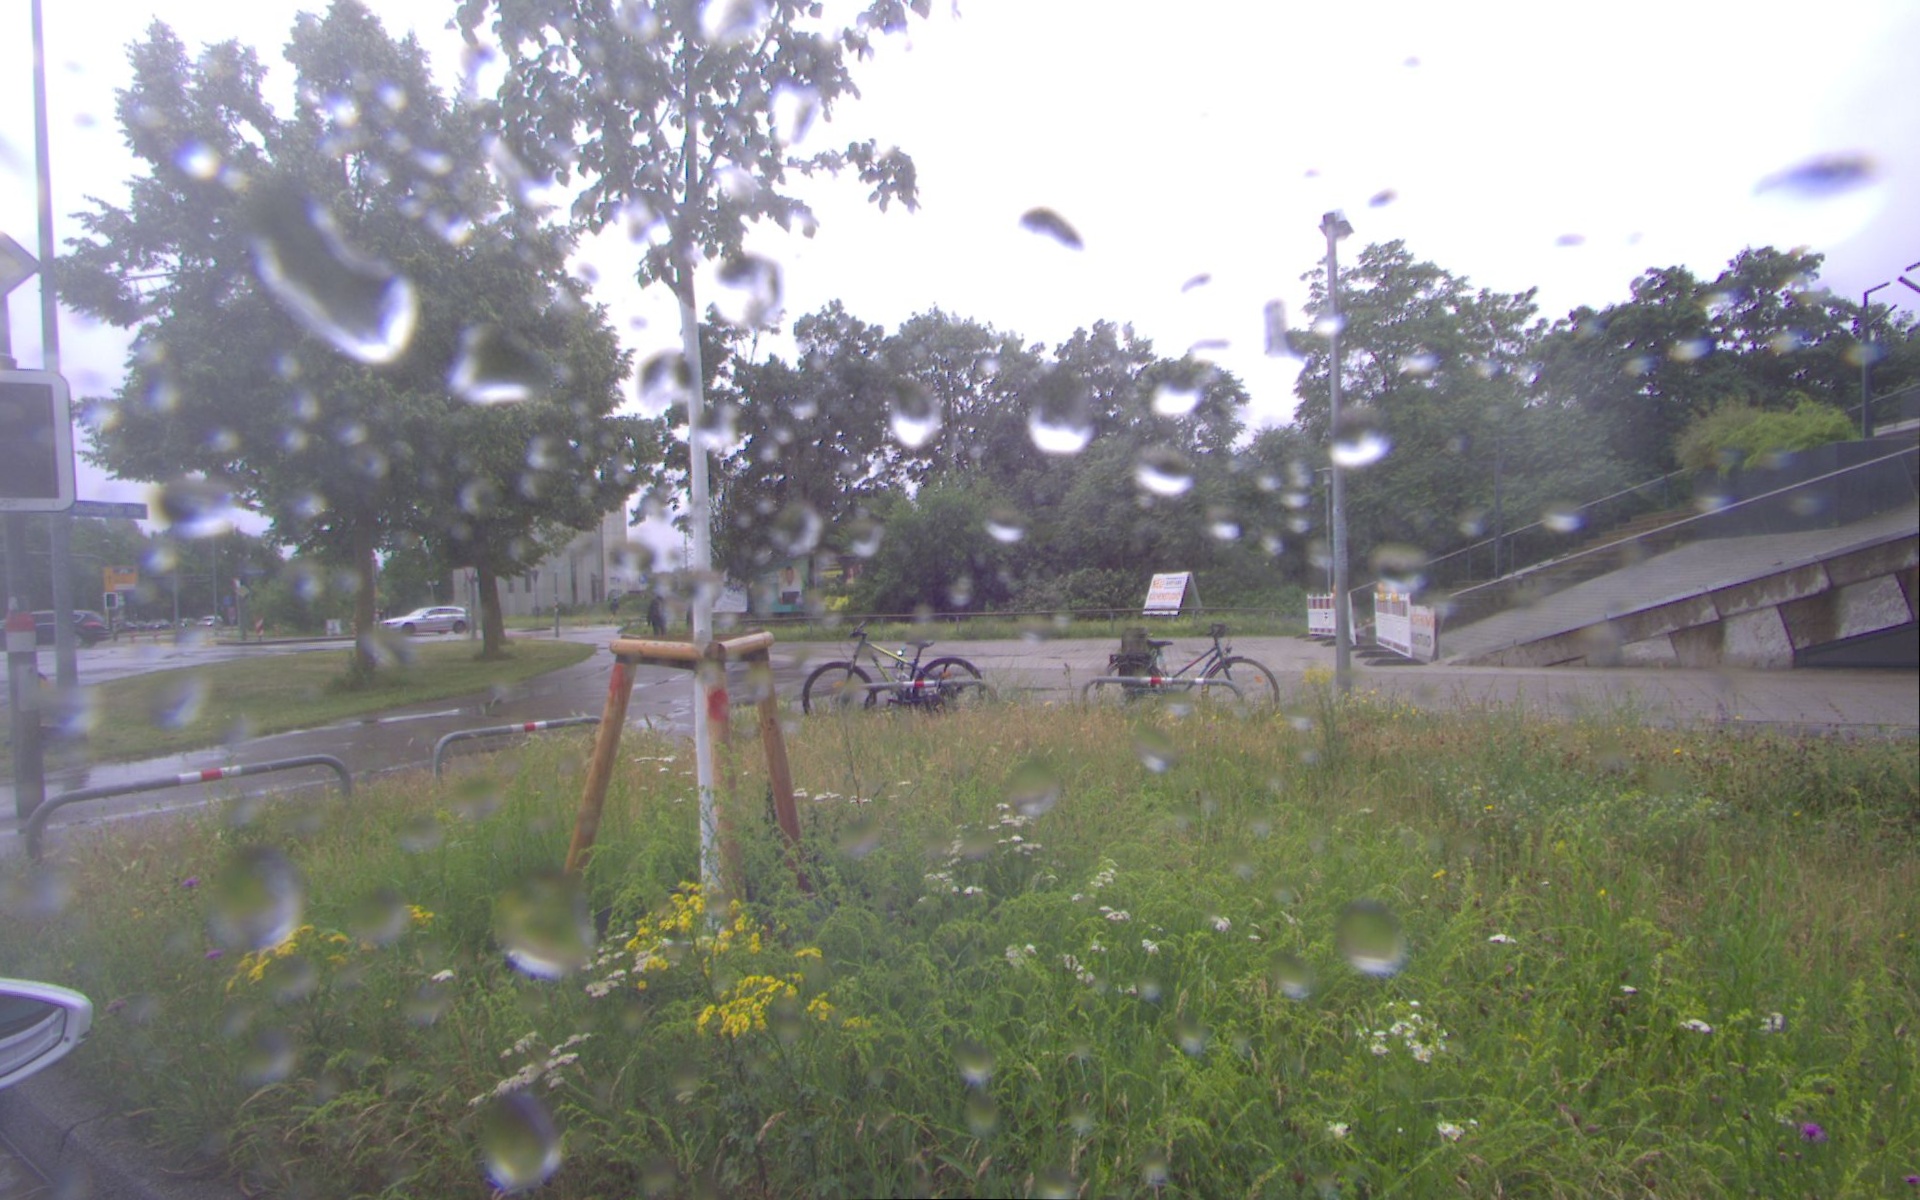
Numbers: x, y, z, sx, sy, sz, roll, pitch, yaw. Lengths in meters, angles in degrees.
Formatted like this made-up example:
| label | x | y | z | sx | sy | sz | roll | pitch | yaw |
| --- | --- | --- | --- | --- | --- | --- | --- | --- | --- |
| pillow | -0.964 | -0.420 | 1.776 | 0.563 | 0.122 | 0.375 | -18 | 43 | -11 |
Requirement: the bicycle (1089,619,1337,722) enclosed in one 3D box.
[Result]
| label | x | y | z | sx | sy | sz | roll | pitch | yaw |
| --- | --- | --- | --- | --- | --- | --- | --- | --- | --- |
| bicycle | 2.304 | 0.612 | 9.227 | 2.130 | 0.858 | 0.634 | -1 | 0 | 29 |

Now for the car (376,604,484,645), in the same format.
| label | x | y | z | sx | sy | sz | roll | pitch | yaw |
| --- | --- | --- | --- | --- | --- | --- | --- | --- | --- |
| car | -28.267 | 1.266 | 53.585 | 1.763 | 1.836 | 4.809 | 0 | 3 | 32 |

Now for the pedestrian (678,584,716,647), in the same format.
| label | x | y | z | sx | sy | sz | roll | pitch | yaw |
| --- | --- | --- | --- | --- | --- | --- | --- | --- | --- |
| pedestrian | -7.636 | 0.458 | 29.107 | 0.906 | 1.807 | 0.808 | 0 | -1 | -3 |

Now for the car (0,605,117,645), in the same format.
| label | x | y | z | sx | sy | sz | roll | pitch | yaw |
| --- | --- | --- | --- | --- | --- | --- | --- | --- | --- |
| car | -39.316 | 1.113 | 43.363 | 3.937 | 1.668 | 1.783 | 1 | -2 | -25 |

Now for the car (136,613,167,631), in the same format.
| label | x | y | z | sx | sy | sz | roll | pitch | yaw |
| --- | --- | --- | --- | --- | --- | --- | --- | --- | --- |
| car | -95.181 | 2.566 | 117.885 | 1.763 | 2.039 | 3.665 | 0 | -2 | -20 |

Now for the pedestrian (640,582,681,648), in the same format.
| label | x | y | z | sx | sy | sz | roll | pitch | yaw |
| --- | --- | --- | --- | --- | --- | --- | --- | --- | --- |
| pedestrian | -8.281 | 0.430 | 27.728 | 0.906 | 1.807 | 0.808 | 0 | -1 | -3 |

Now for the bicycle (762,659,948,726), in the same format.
| label | x | y | z | sx | sy | sz | roll | pitch | yaw |
| --- | --- | --- | --- | --- | --- | --- | --- | --- | --- |
| bicycle | -1.016 | 0.893 | 9.779 | 1.771 | 0.566 | 0.320 | -1 | 1 | -17 |

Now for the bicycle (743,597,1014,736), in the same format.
| label | x | y | z | sx | sy | sz | roll | pitch | yaw |
| --- | --- | --- | --- | --- | --- | --- | --- | --- | --- |
| bicycle | -0.754 | 0.583 | 9.431 | 2.480 | 1.205 | 0.552 | -1 | 1 | -17 |

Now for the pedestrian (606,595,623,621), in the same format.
| label | x | y | z | sx | sy | sz | roll | pitch | yaw |
| --- | --- | --- | --- | --- | --- | --- | --- | --- | --- |
| pedestrian | -24.674 | 0.579 | 71.486 | 0.705 | 1.794 | 0.948 | -1 | -2 | 42 |
